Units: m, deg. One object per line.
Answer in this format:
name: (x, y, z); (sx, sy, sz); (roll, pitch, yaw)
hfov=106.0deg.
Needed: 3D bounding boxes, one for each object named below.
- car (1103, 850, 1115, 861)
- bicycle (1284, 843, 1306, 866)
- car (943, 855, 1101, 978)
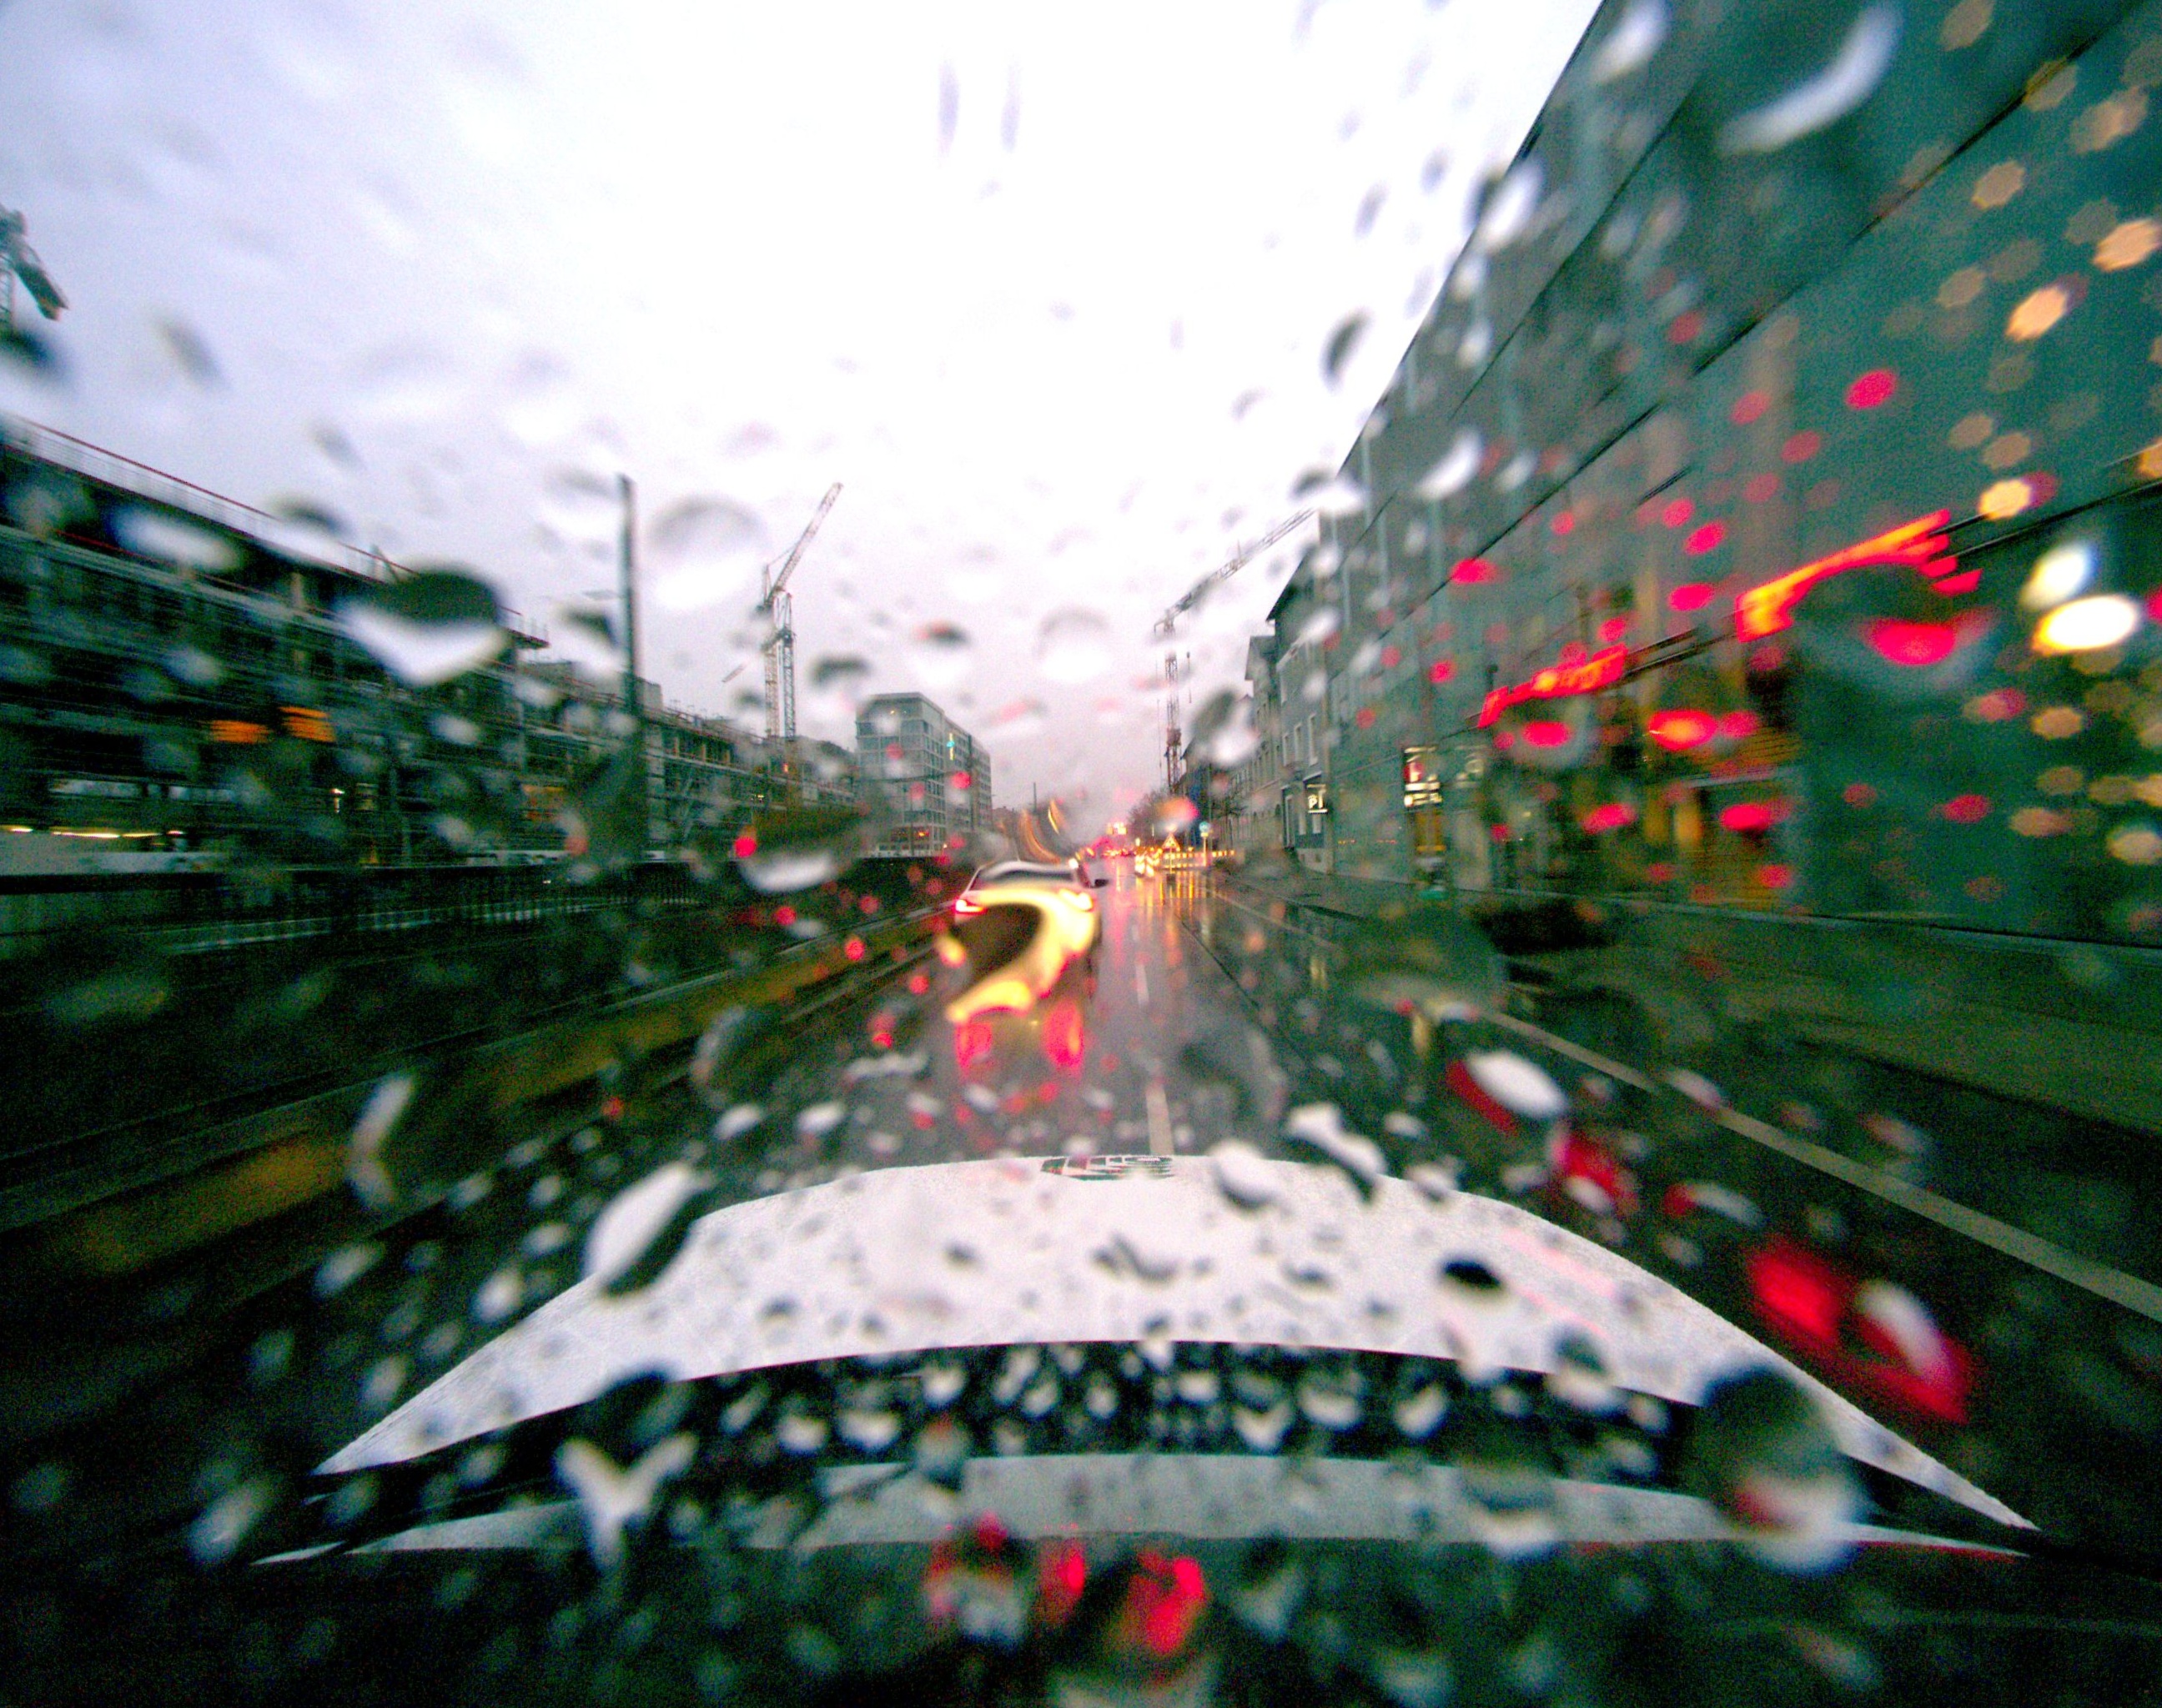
car: (4.623, 0.251, 134.067); (1.893, 1.641, 4.003); (-1, 0, 3)
bicycle: (11.704, 0.027, 44.624); (0.680, 1.222, 1.906); (-5, 0, 2)
car: (-0.672, 0.783, 12.578); (1.844, 1.465, 4.950); (-1, 0, 2)
